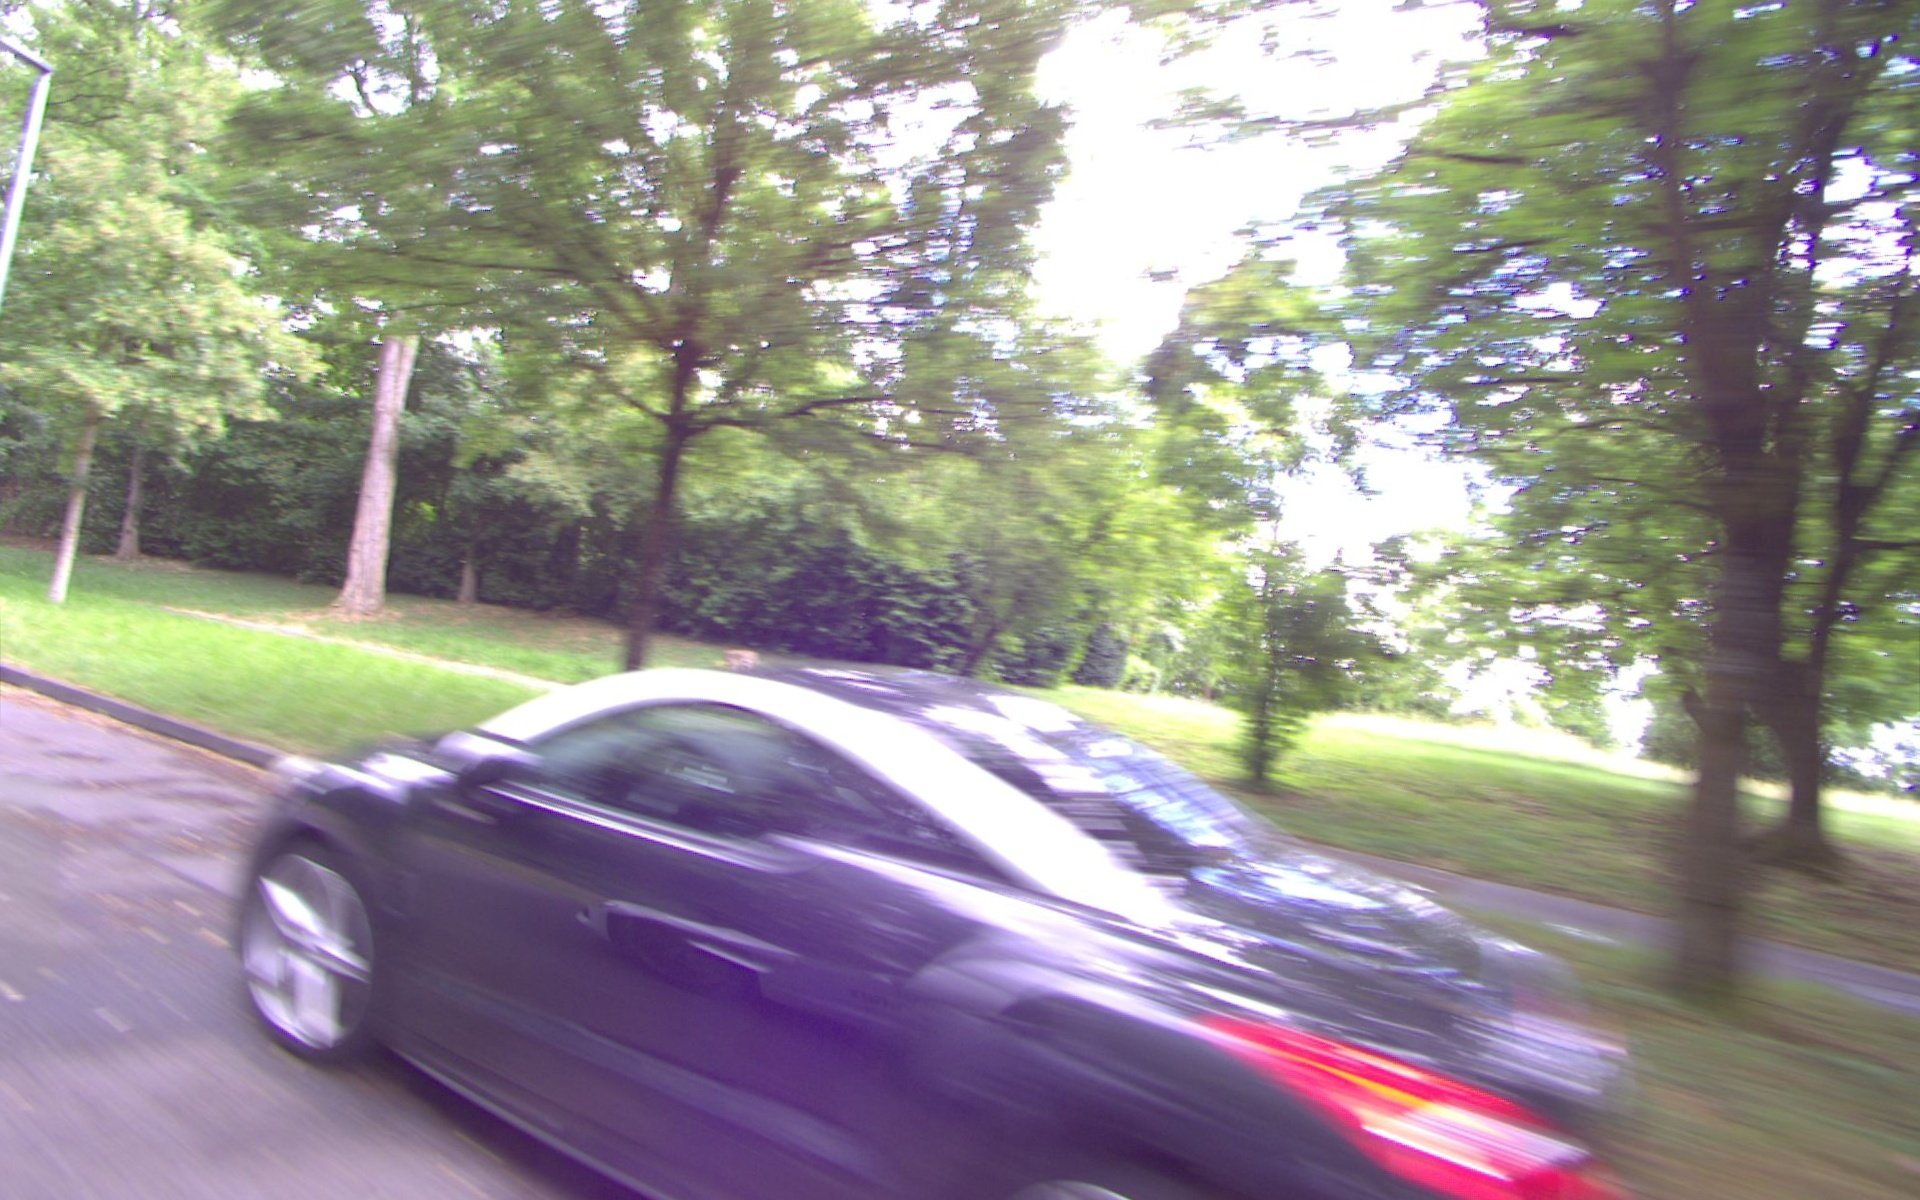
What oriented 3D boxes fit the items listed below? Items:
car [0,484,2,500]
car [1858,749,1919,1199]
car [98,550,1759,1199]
[{"bbox_3d":[-9.887,-0.424,8.057,3.928,1.580,1.744,7,-2,24],"label":"car"},{"bbox_3d":[3.596,1.204,0.708,4.112,1.525,1.719,6,-4,32],"label":"car"},{"bbox_3d":[-0.523,0.821,3.124,4.339,1.352,1.755,7,-3,29],"label":"car"}]
